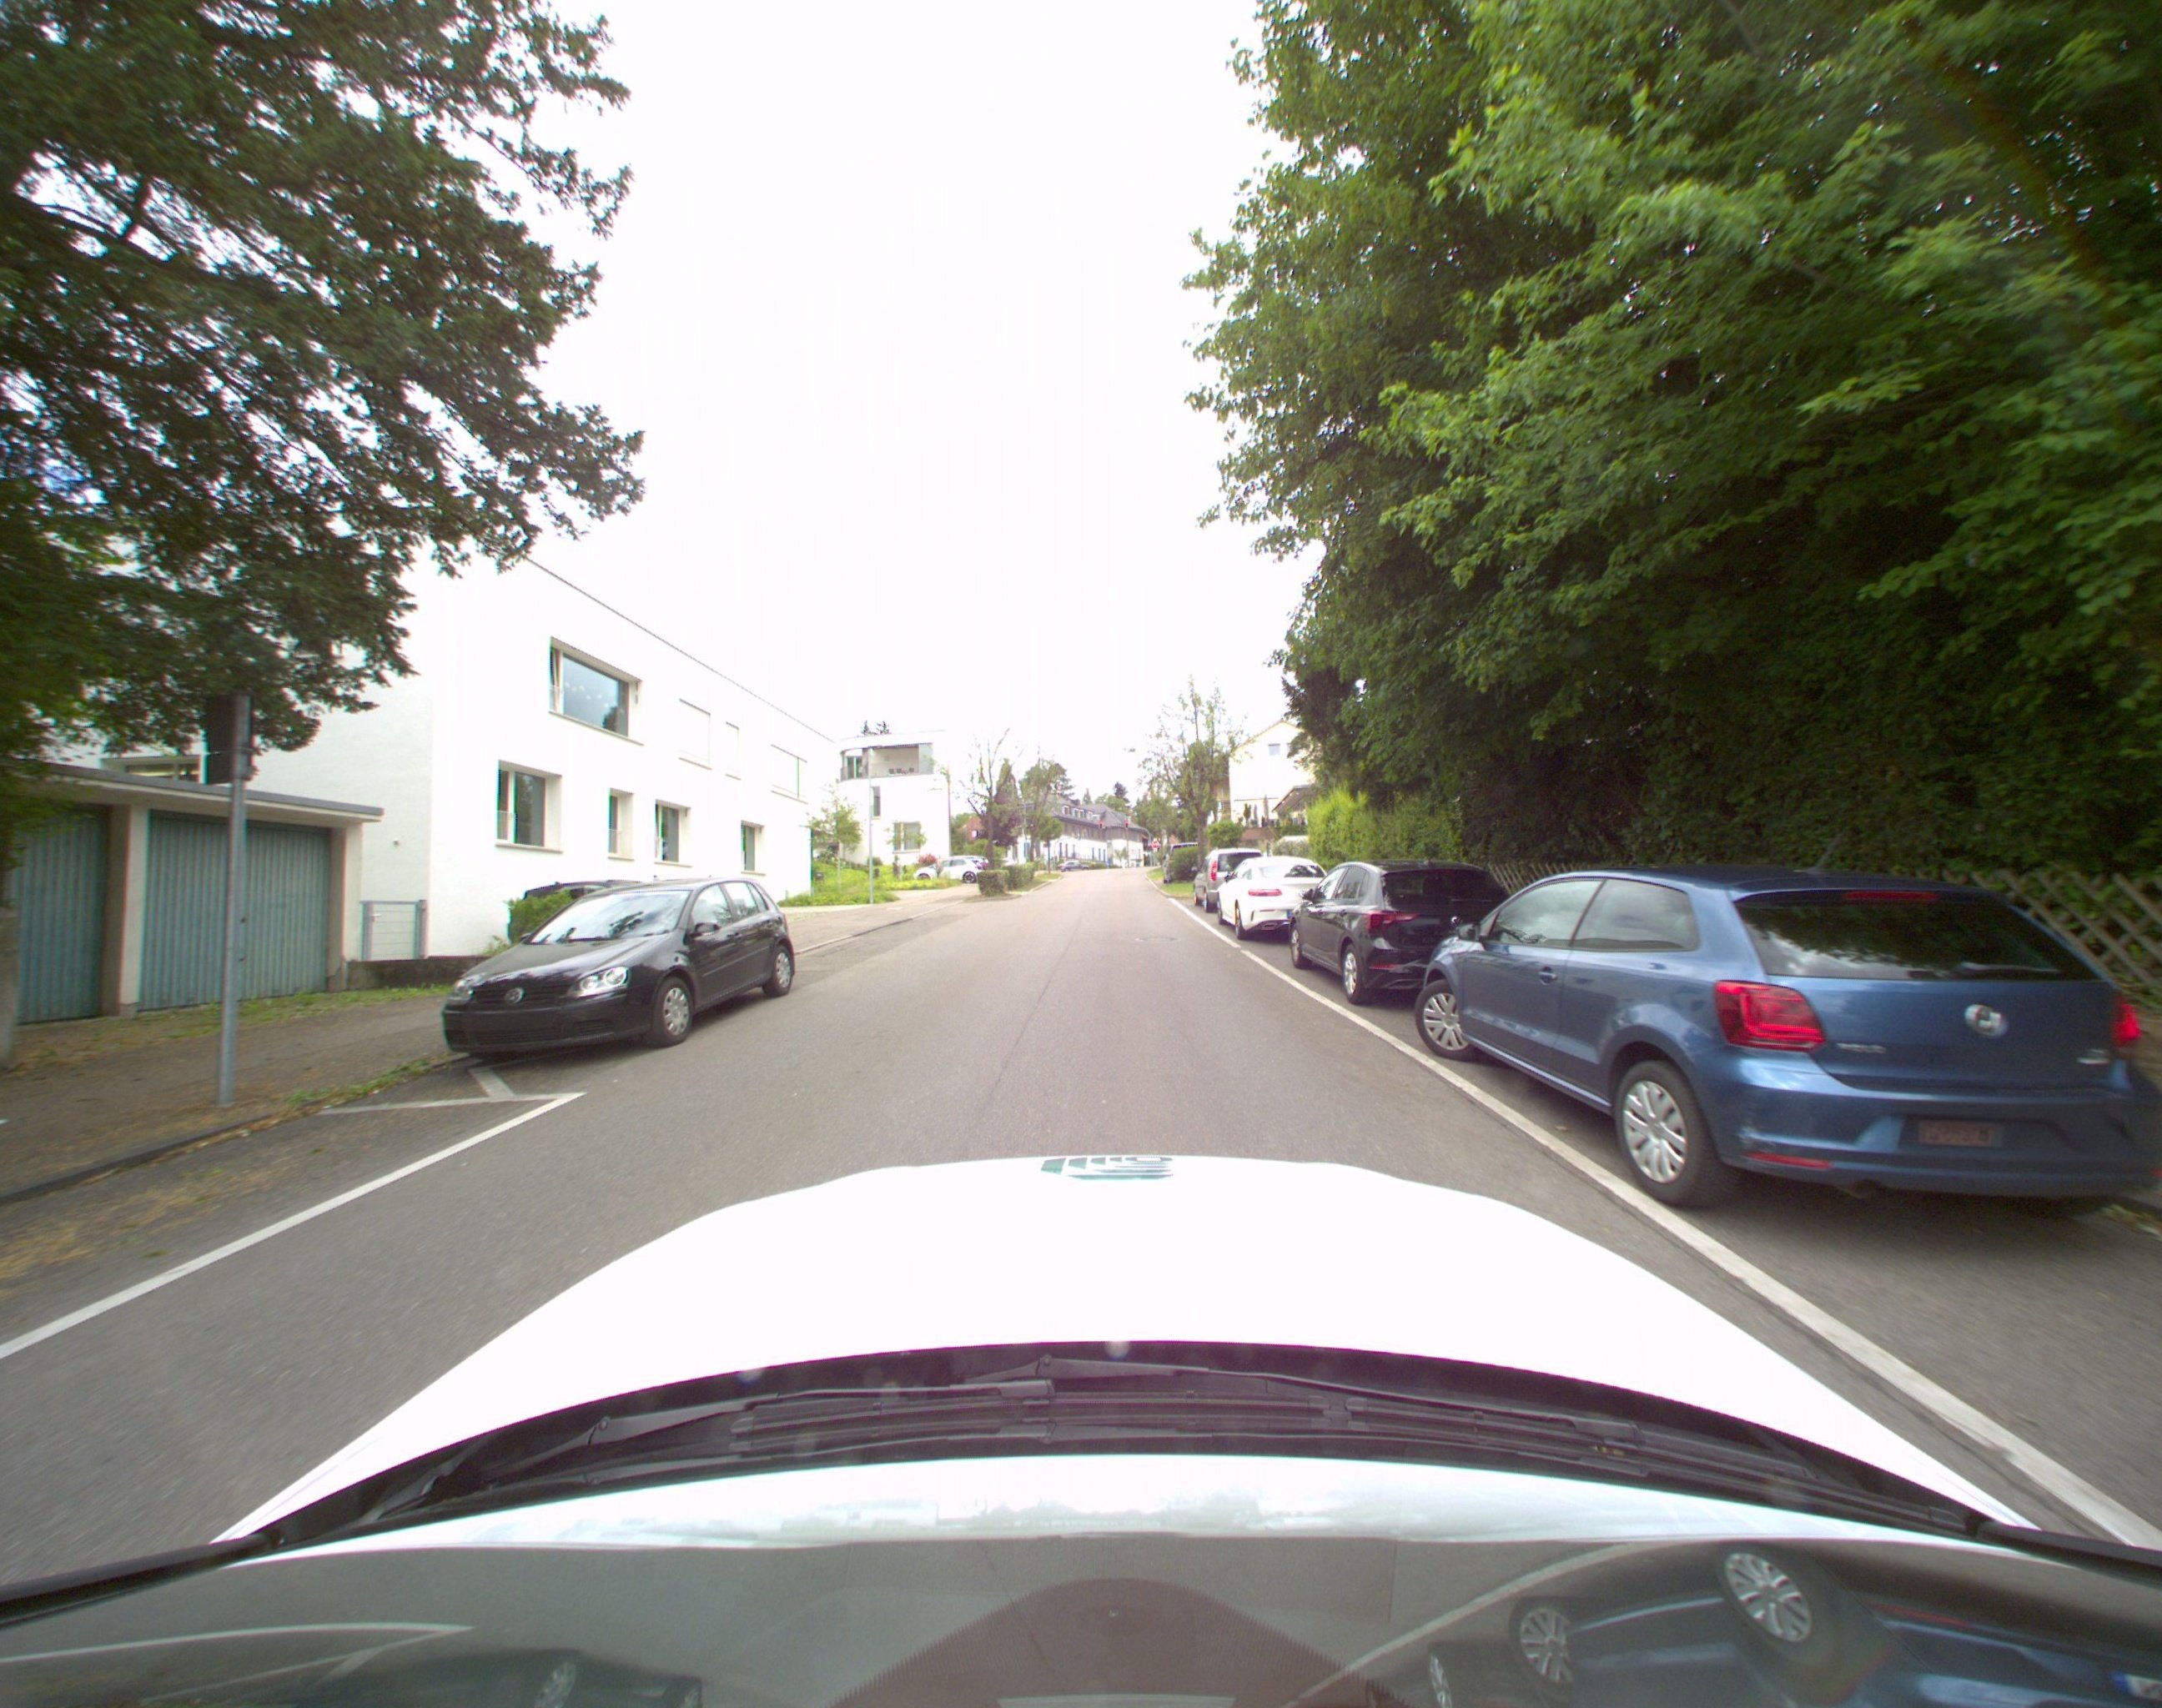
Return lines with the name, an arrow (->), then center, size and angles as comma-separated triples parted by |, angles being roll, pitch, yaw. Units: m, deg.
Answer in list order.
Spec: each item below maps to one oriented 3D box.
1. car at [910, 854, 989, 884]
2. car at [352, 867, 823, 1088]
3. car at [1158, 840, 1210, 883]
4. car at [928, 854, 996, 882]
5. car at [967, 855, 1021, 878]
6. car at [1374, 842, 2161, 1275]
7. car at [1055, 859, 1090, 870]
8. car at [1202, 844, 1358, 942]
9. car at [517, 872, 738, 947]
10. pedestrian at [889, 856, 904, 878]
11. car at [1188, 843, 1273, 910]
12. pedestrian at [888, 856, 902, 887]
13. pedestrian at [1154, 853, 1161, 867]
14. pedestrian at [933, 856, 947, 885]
car -> -8.019, 0.902, 50.029 | 4.371, 1.566, 2.067 | -3, 0, 1
car -> -4.416, 0.954, 8.395 | 1.844, 1.469, 4.684 | -3, 0, 1
car -> 4.760, 0.331, 38.320 | 1.928, 1.838, 5.222 | -2, 0, 3
car -> -7.658, 0.895, 52.662 | 3.970, 1.653, 2.010 | -2, 0, 3
car -> -7.350, 1.056, 68.867 | 4.247, 1.623, 2.013 | -3, -1, -1
car -> 3.281, 0.714, 4.938 | 1.691, 1.508, 4.163 | 0, 0, 3
car -> -1.057, 1.293, 101.505 | 4.000, 1.287, 1.987 | 0, 0, -20
car -> 3.599, 0.621, 15.720 | 1.985, 1.491, 5.009 | -3, 0, 3
car -> -9.809, 1.164, 17.851 | 3.786, 1.354, 1.739 | -2, 0, -3
pedestrian -> -10.788, 0.753, 47.669 | 0.604, 1.283, 0.900 | -1, 0, 2
car -> 3.928, 0.562, 21.963 | 1.710, 1.632, 3.931 | -1, 0, 3
pedestrian -> -10.195, 0.967, 44.620 | 0.586, 1.682, 0.520 | -3, 0, 3
pedestrian -> 9.474, 0.722, 100.609 | 0.678, 1.682, 0.703 | -3, 0, 19
pedestrian -> -8.269, 0.968, 47.640 | 0.591, 1.640, 0.566 | -3, 0, 3
